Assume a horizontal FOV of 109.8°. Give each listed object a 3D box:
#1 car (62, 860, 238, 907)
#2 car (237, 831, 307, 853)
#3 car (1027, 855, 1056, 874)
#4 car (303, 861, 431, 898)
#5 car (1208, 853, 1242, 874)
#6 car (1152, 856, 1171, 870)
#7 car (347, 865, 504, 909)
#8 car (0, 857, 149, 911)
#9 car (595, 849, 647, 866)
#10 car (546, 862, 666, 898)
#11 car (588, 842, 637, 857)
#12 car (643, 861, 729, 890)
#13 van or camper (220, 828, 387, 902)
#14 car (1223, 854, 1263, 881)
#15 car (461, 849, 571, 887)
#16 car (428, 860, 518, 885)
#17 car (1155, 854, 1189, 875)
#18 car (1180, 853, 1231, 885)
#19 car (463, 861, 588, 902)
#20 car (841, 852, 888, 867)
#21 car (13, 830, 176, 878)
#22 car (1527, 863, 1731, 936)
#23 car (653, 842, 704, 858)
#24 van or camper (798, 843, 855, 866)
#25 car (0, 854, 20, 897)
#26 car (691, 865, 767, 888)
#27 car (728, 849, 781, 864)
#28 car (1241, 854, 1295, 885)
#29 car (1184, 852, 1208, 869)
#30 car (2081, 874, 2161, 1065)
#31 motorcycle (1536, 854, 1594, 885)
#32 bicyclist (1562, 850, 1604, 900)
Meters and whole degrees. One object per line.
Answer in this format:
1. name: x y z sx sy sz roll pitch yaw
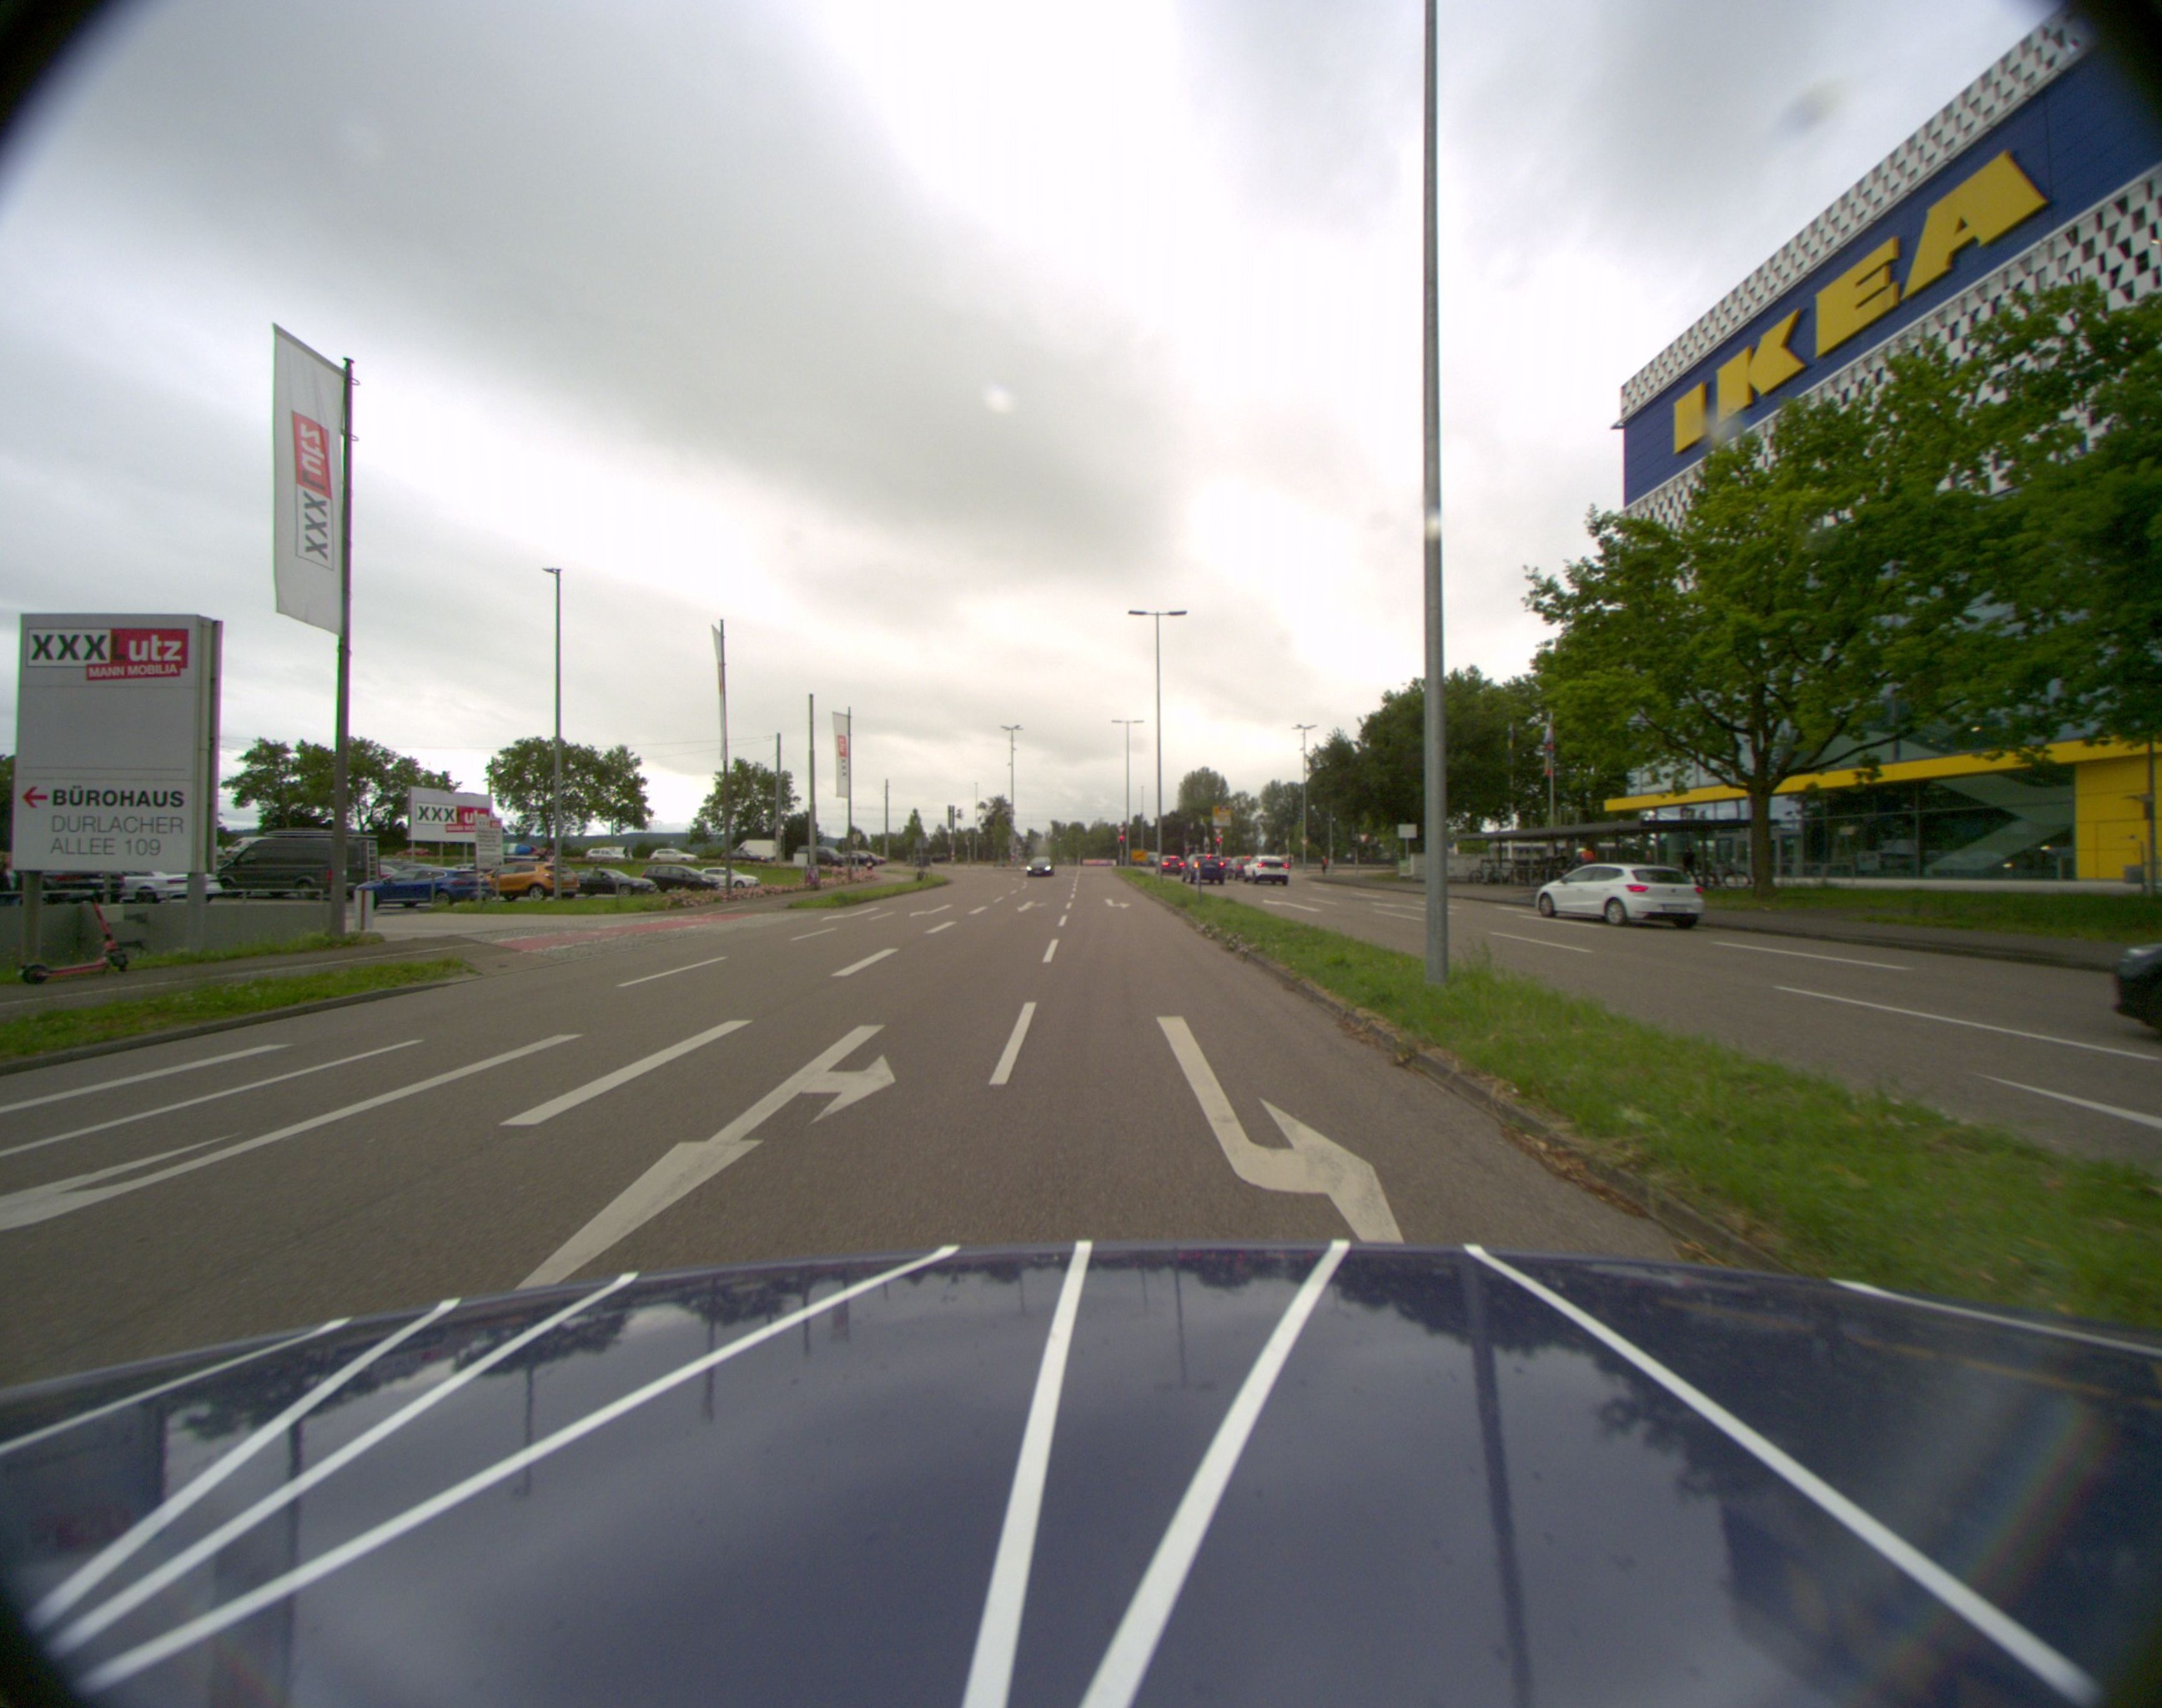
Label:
1. car: -32.985 1.036 26.991 3.996 1.543 1.864 -1 1 2
2. car: -106.045 -1.535 99.663 5.897 2.609 2.664 0 -2 -5
3. car: -3.020 0.806 58.791 1.999 1.382 4.343 -1 0 -1
4. car: -32.658 1.153 34.829 3.996 1.559 2.000 -1 0 2
5. car: 10.168 0.662 53.895 1.606 1.436 4.143 1 0 0
6. car: 9.162 1.049 86.562 1.676 1.400 4.374 -1 -2 1
7. car: -23.104 1.133 26.869 3.996 1.447 1.814 0 1 2
8. car: -33.045 0.941 24.407 3.901 1.644 1.832 1 -1 -1
9. car: -45.202 0.341 74.723 4.073 1.592 1.747 -1 -2 -2
10. car: -22.780 1.224 36.620 4.542 1.574 1.767 -1 2 -12
11. car: -62.455 -0.561 101.410 5.121 1.868 2.099 1 -2 -10
12. car: -23.051 1.256 44.425 4.103 1.573 1.769 -1 -1 -2
13. van or camper: -32.422 0.436 31.753 5.390 2.966 1.992 0 1 7
14. car: 10.202 0.823 48.036 1.606 1.489 4.037 2 1 0
15. car: -33.097 0.789 44.591 5.045 2.153 2.123 0 1 6
16. car: -37.670 1.137 47.135 4.207 1.467 1.745 0 1 3
17. car: 6.780 0.758 56.867 1.888 1.428 4.430 1 1 -1
18. car: 6.447 0.743 39.787 1.936 1.477 4.438 1 1 0
19. car: -23.226 1.150 31.858 3.995 1.634 1.816 0 1 6
20. car: -22.086 0.508 77.413 4.200 1.455 1.839 -1 0 13
21. car: -64.603 0.056 49.888 6.946 2.971 2.769 -1 -2 -1
22. car: 12.965 0.999 18.356 1.871 1.446 4.168 1 0 0
23. car: -39.421 -0.365 74.546 4.043 1.529 1.734 0 -2 1
24. van or camper: -24.329 0.006 72.720 4.743 2.003 2.126 2 3 17
25. car: -48.346 0.948 32.285 3.996 1.851 1.833 0 1 2
26. car: -23.037 1.503 49.867 4.117 1.437 1.876 -1 -2 0
27. car: -31.935 0.250 74.348 4.316 1.455 1.970 1 0 6
28. car: 10.108 0.812 41.287 1.936 1.510 4.181 0 1 1
29. car: 10.001 0.551 66.216 1.606 1.494 3.209 0 0 -1
30. car: 9.121 0.909 4.243 1.762 1.444 4.000 2 0 0
31. motorcycle: 23.456 0.738 36.828 2.500 1.347 0.799 -2 0 -11
32. bicyclist: 16.059 0.659 24.337 0.642 1.568 1.000 -2 0 1
